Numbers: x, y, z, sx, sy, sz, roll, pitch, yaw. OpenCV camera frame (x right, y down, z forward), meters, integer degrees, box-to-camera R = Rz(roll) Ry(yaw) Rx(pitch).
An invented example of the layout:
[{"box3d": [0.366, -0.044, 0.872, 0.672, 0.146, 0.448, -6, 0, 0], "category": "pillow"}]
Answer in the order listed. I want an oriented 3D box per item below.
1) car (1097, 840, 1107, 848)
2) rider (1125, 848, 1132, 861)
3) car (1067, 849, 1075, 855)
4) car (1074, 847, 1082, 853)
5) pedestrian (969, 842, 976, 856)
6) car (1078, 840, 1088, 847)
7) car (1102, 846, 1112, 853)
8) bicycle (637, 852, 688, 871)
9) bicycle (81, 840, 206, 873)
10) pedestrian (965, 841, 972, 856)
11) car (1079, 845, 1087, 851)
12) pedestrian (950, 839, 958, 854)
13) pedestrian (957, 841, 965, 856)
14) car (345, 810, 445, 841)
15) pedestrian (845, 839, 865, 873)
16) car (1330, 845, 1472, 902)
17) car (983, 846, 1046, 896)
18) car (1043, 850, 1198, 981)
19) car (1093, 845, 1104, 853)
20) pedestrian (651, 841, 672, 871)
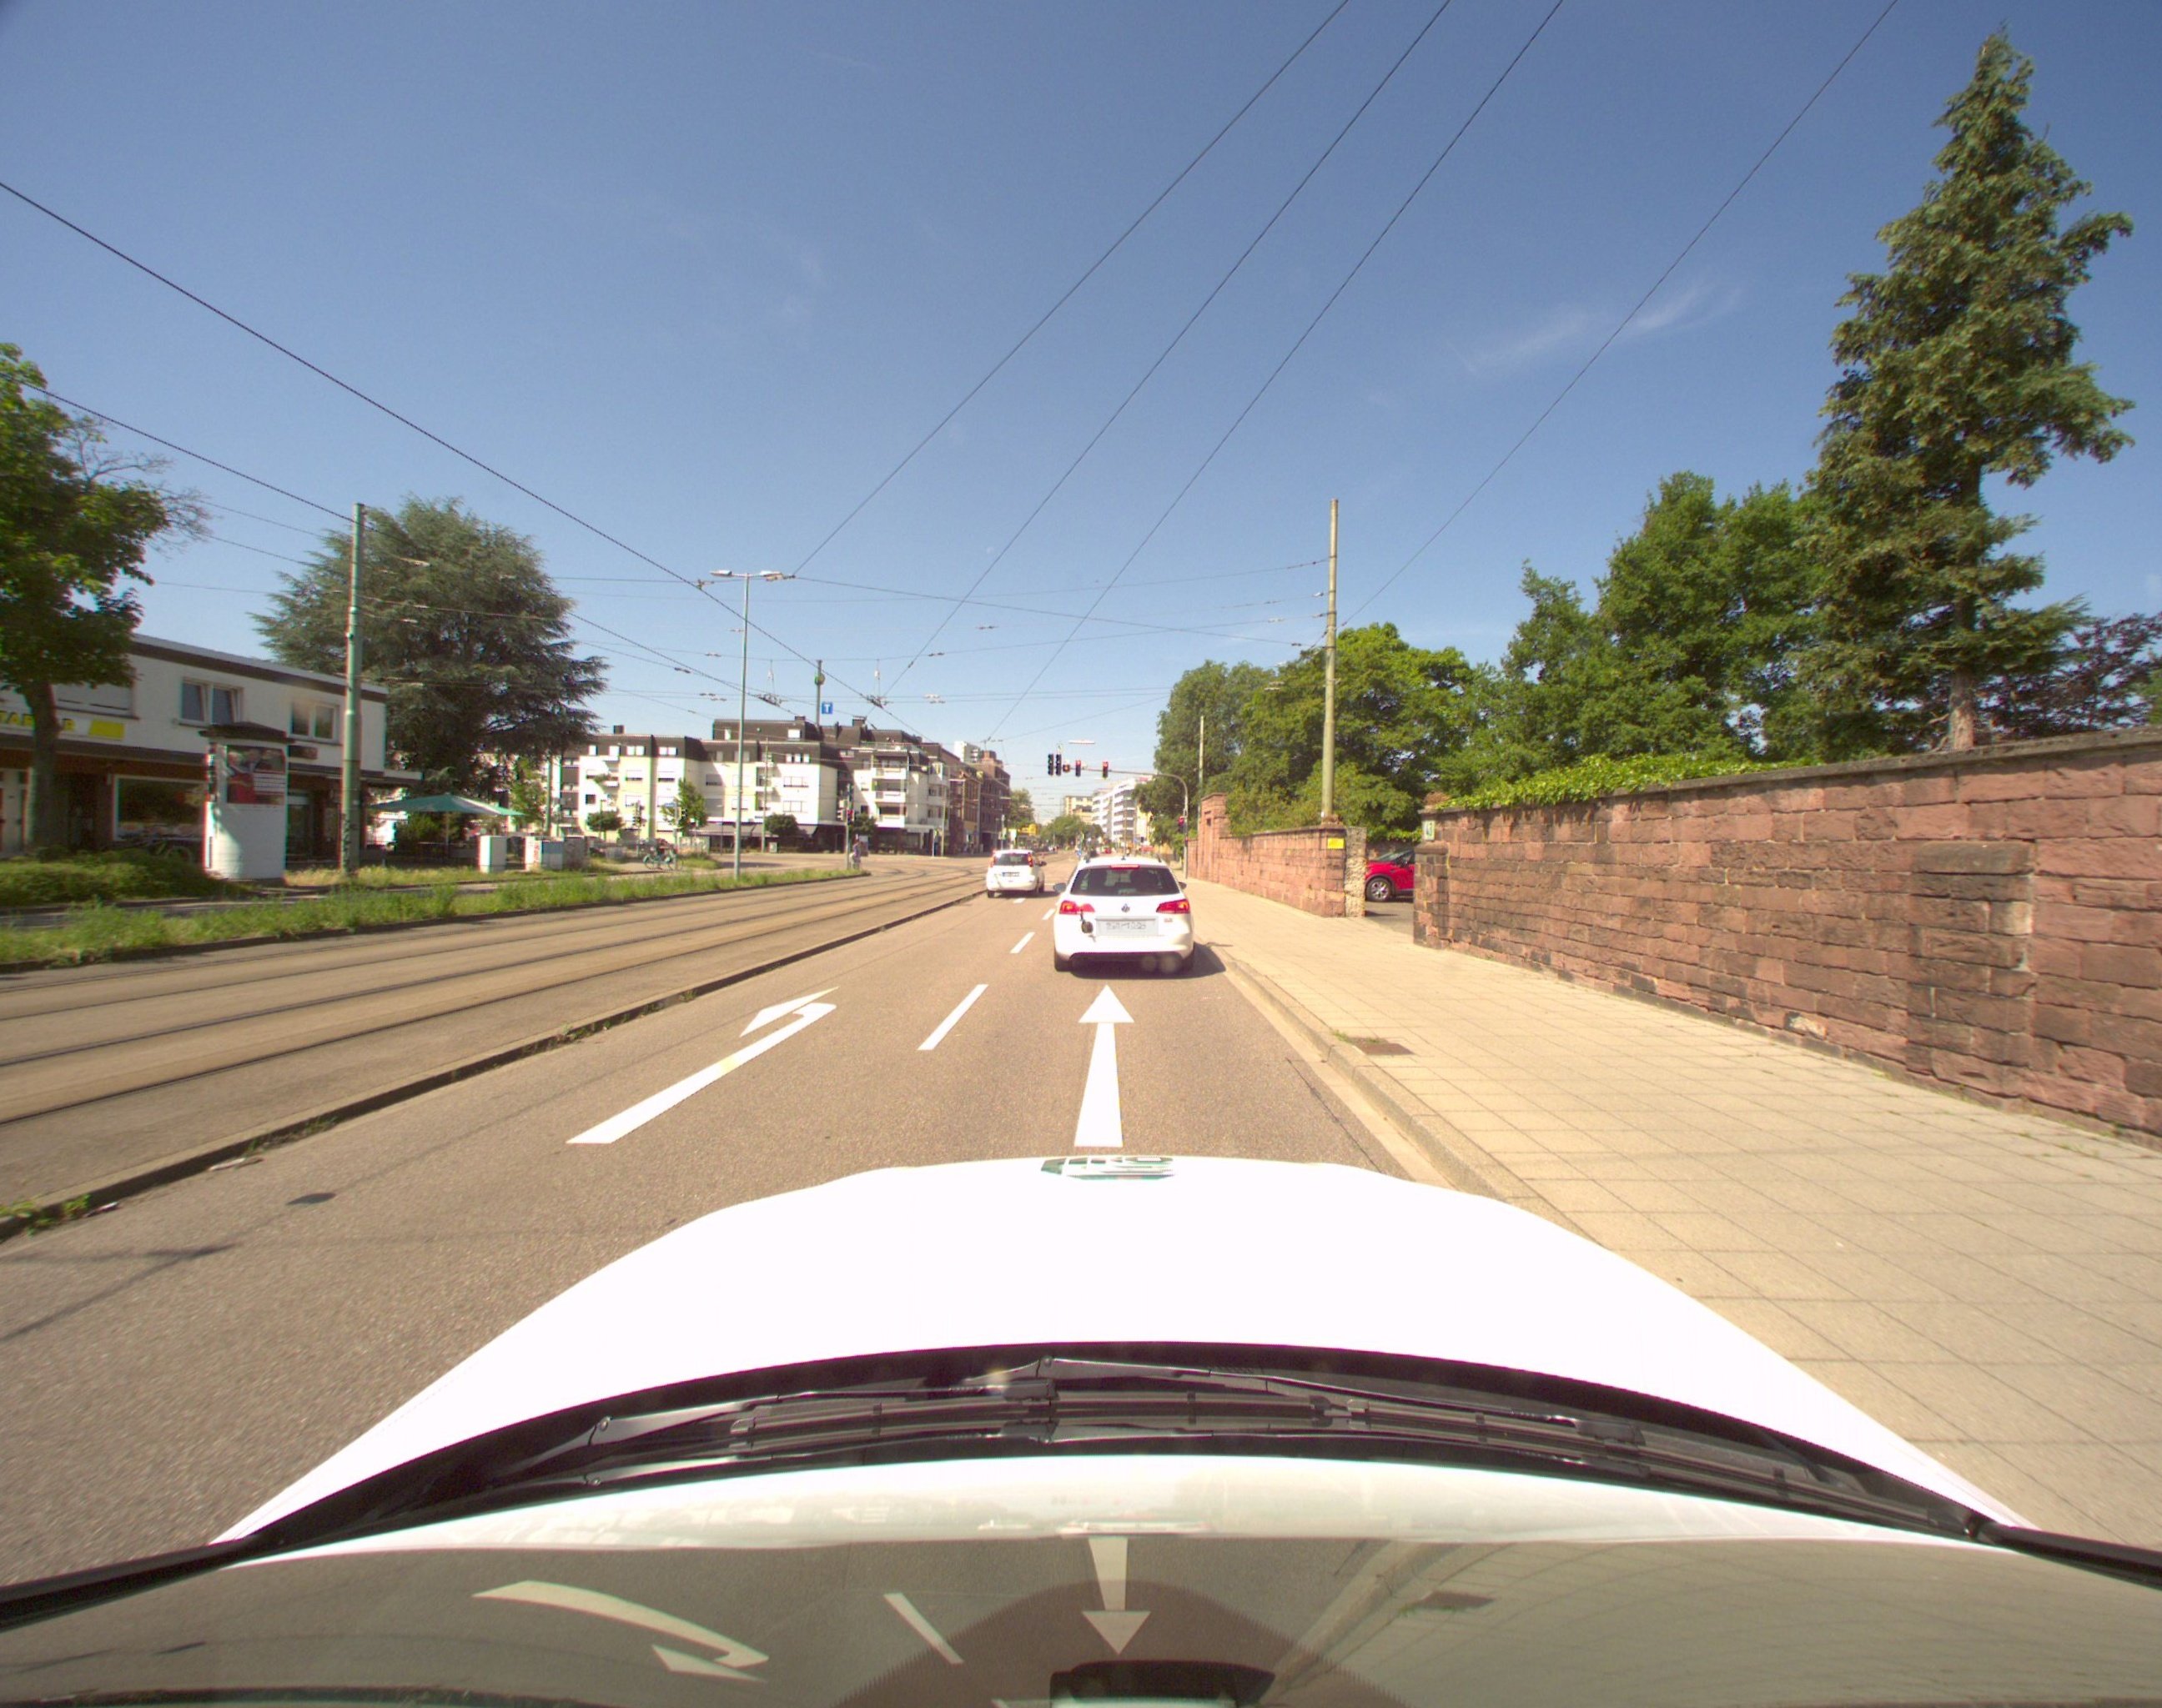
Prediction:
[{"box3d": [5.895, -2.880, 233.961, 1.995, 2.013, 3.984, 1, 0, -12], "category": "car"}, {"box3d": [6.296, 0.029, 107.517, 0.887, 1.728, 2.205, 1, 0, 2], "category": "rider"}, {"box3d": [-2.353, -0.469, 193.484, 1.692, 1.591, 3.535, 1, 0, 1], "category": "car"}, {"box3d": [-0.941, -1.202, 231.134, 1.697, 1.591, 3.525, 1, 0, -8], "category": "car"}, {"box3d": [-15.528, -0.725, 116.787, 0.935, 2.013, 0.989, 1, 0, -4], "category": "pedestrian"}, {"box3d": [0.556, -3.276, 255.692, 1.996, 2.013, 3.982, 3, 0, -14], "category": "car"}, {"box3d": [7.000, -1.194, 219.739, 1.995, 2.013, 3.984, 1, 0, -12], "category": "car"}, {"box3d": [-20.889, 0.368, 40.706, 2.188, 0.921, 0.547, 1, 0, -41], "category": "bicycle"}, {"box3d": [-27.062, 0.050, 23.583, 0.780, 0.888, 2.392, 1, 0, 3], "category": "bicycle"}, {"box3d": [-15.369, -0.691, 111.248, 0.935, 2.013, 0.989, 1, 0, -5], "category": "pedestrian"}, {"box3d": [0.623, -1.903, 260.280, 1.995, 2.013, 3.984, 1, 0, -12], "category": "car"}, {"box3d": [-17.305, -0.985, 110.630, 0.934, 2.013, 0.990, 0, 0, -2], "category": "pedestrian"}, {"box3d": [-16.357, -0.727, 110.946, 0.934, 2.013, 0.989, 1, 0, -4], "category": "pedestrian"}, {"box3d": [-51.922, -2.140, 61.711, 5.535, 2.013, 2.250, 3, 0, 0], "category": "car"}, {"box3d": [-11.786, 0.096, 42.459, 0.825, 1.738, 0.930, 1, 0, -6], "category": "pedestrian"}, {"box3d": [8.901, 0.532, 22.819, 3.395, 1.464, 1.525, 1, 0, 1], "category": "car"}, {"box3d": [-2.190, 0.525, 27.909, 1.724, 1.596, 4.012, 1, 0, 1], "category": "car"}, {"box3d": [0.542, 0.701, 11.287, 1.771, 1.490, 3.849, 0, 0, 3], "category": "car"}, {"box3d": [4.638, -1.318, 214.735, 1.995, 1.903, 3.984, 1, 0, -12], "category": "car"}, {"box3d": [-21.175, 0.079, 41.061, 0.820, 1.487, 0.559, 1, 0, -40], "category": "pedestrian"}]
